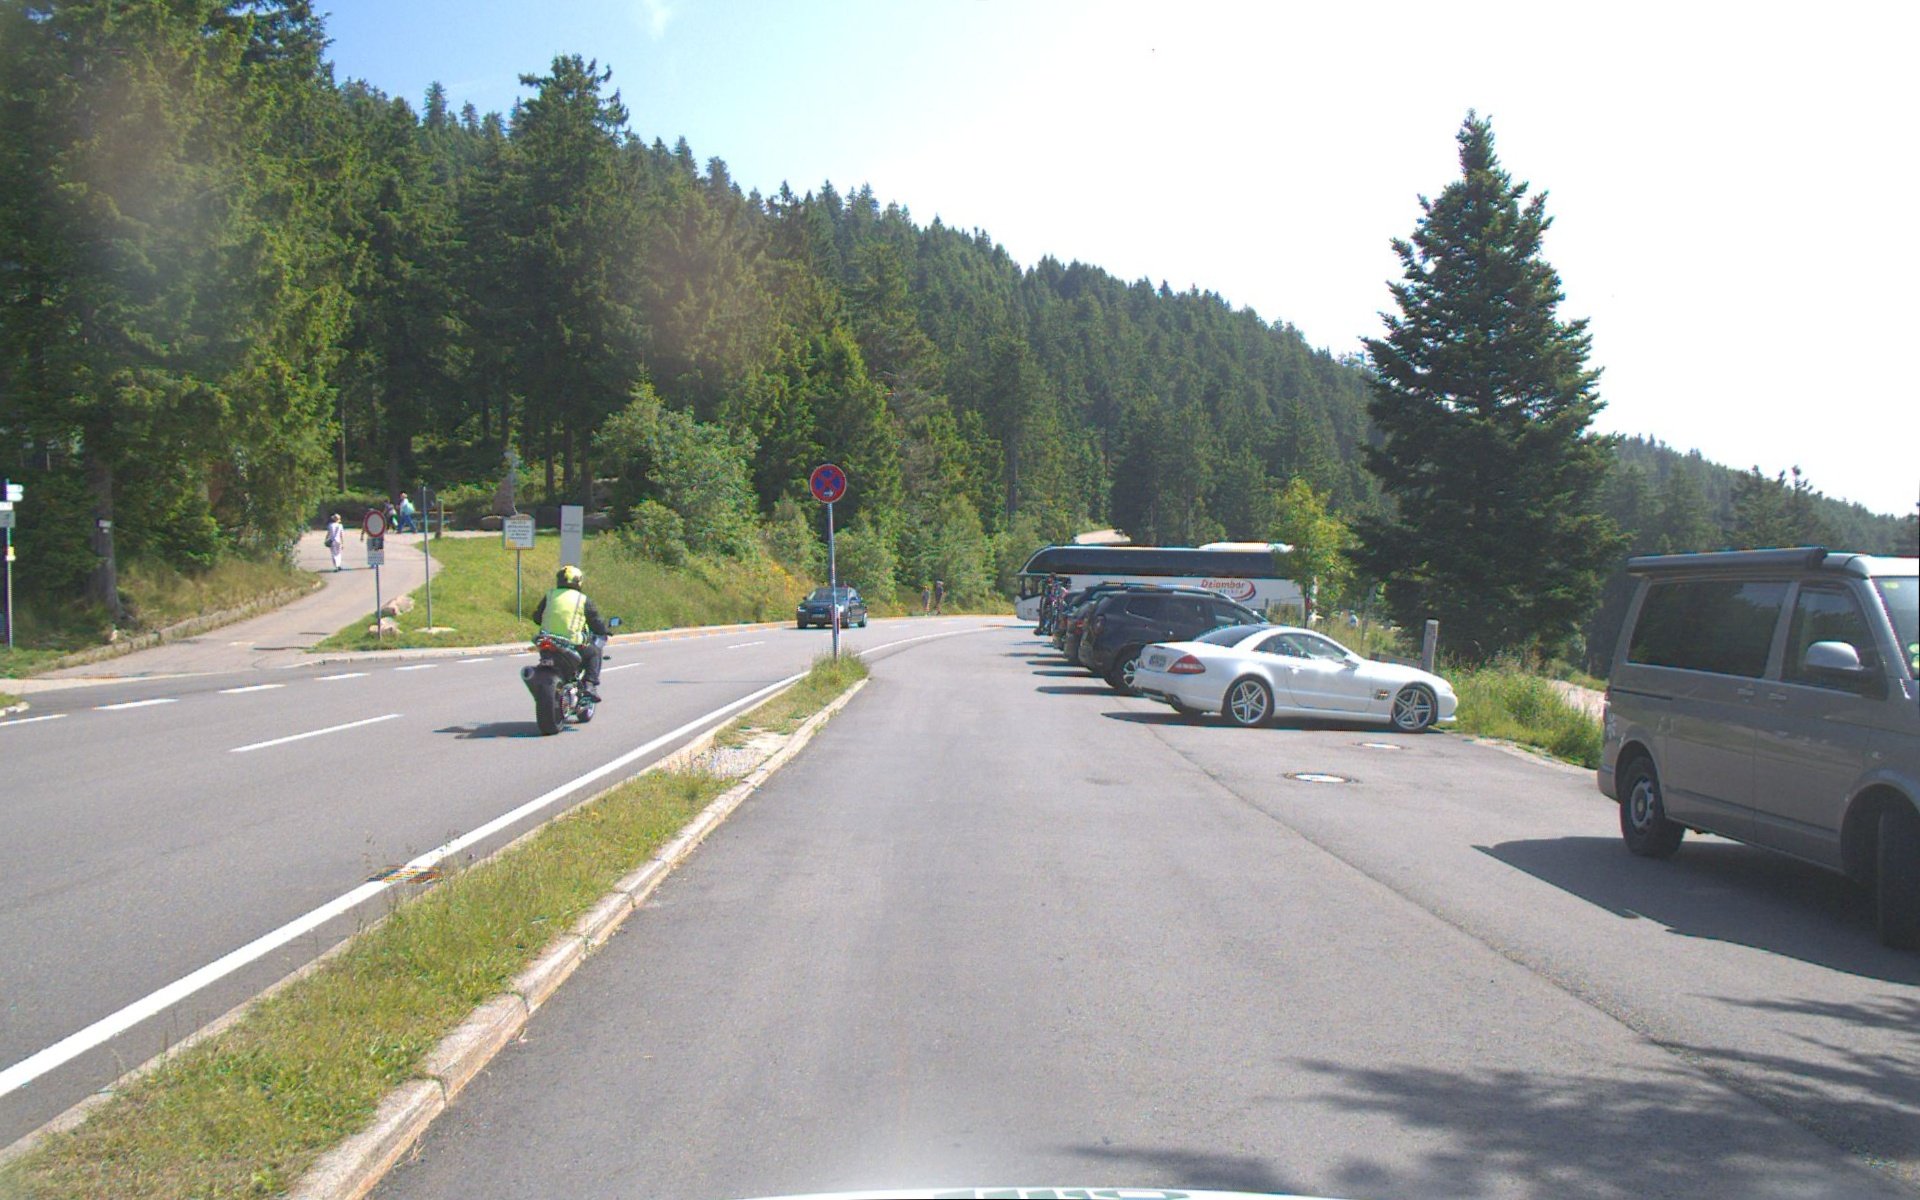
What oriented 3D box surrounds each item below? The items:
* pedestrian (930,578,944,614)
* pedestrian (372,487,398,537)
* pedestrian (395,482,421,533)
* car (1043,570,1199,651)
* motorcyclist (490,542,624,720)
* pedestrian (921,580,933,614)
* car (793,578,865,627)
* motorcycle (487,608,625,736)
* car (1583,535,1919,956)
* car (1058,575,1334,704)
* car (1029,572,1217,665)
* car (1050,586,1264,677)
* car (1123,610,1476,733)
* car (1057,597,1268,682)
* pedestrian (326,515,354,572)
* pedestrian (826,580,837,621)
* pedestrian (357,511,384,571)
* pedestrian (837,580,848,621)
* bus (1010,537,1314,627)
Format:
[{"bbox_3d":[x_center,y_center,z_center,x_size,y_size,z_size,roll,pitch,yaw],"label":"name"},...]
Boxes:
[{"bbox_3d":[-1.340,-0.243,95.333,0.718,2.049,0.862,-2,-1,-2],"label":"pedestrian"},{"bbox_3d":[-23.850,-3.658,68.624,0.783,2.048,0.938,-2,2,-10],"label":"pedestrian"},{"bbox_3d":[-22.588,-3.767,67.692,0.800,2.048,0.851,-2,2,-10],"label":"pedestrian"},{"bbox_3d":[4.238,0.258,44.017,3.906,1.845,1.940,3,2,0],"label":"car"},{"bbox_3d":[-4.014,0.300,16.576,1.004,1.704,1.293,0,-1,0],"label":"motorcyclist"},{"bbox_3d":[-1.937,-0.178,96.355,0.610,1.933,0.654,-2,-1,-2],"label":"pedestrian"},{"bbox_3d":[-4.691,0.067,59.789,1.951,1.691,4.003,-1,1,5],"label":"car"},{"bbox_3d":[-4.011,0.679,16.618,0.805,1.197,2.286,0,-1,0],"label":"motorcycle"},{"bbox_3d":[5.533,0.725,9.637,1.866,2.006,4.819,3,1,0],"label":"car"},{"bbox_3d":[3.738,0.609,26.594,3.914,1.728,1.996,4,1,-10],"label":"car"},{"bbox_3d":[3.586,0.382,36.895,3.907,1.749,1.867,3,2,-2],"label":"car"},{"bbox_3d":[3.876,0.605,33.003,3.908,1.478,1.999,3,2,-3],"label":"car"},{"bbox_3d":[4.527,0.951,22.094,4.385,1.321,1.574,4,1,-19],"label":"car"},{"bbox_3d":[3.642,0.710,30.163,3.563,1.326,1.640,2,2,-3],"label":"car"},{"bbox_3d":[-18.924,-1.730,50.455,0.640,1.696,0.642,-1,-1,-8],"label":"pedestrian"},{"bbox_3d":[-5.736,0.018,73.754,0.406,1.777,0.457,-2,2,-2],"label":"pedestrian"},{"bbox_3d":[-18.252,-1.818,51.204,0.640,1.830,0.642,-1,0,-8],"label":"pedestrian"},{"bbox_3d":[-5.213,0.014,73.463,0.387,1.777,0.406,-2,2,-2],"label":"pedestrian"},{"bbox_3d":[8.582,-0.824,70.395,12.587,3.640,2.985,0,3,15],"label":"bus"}]
